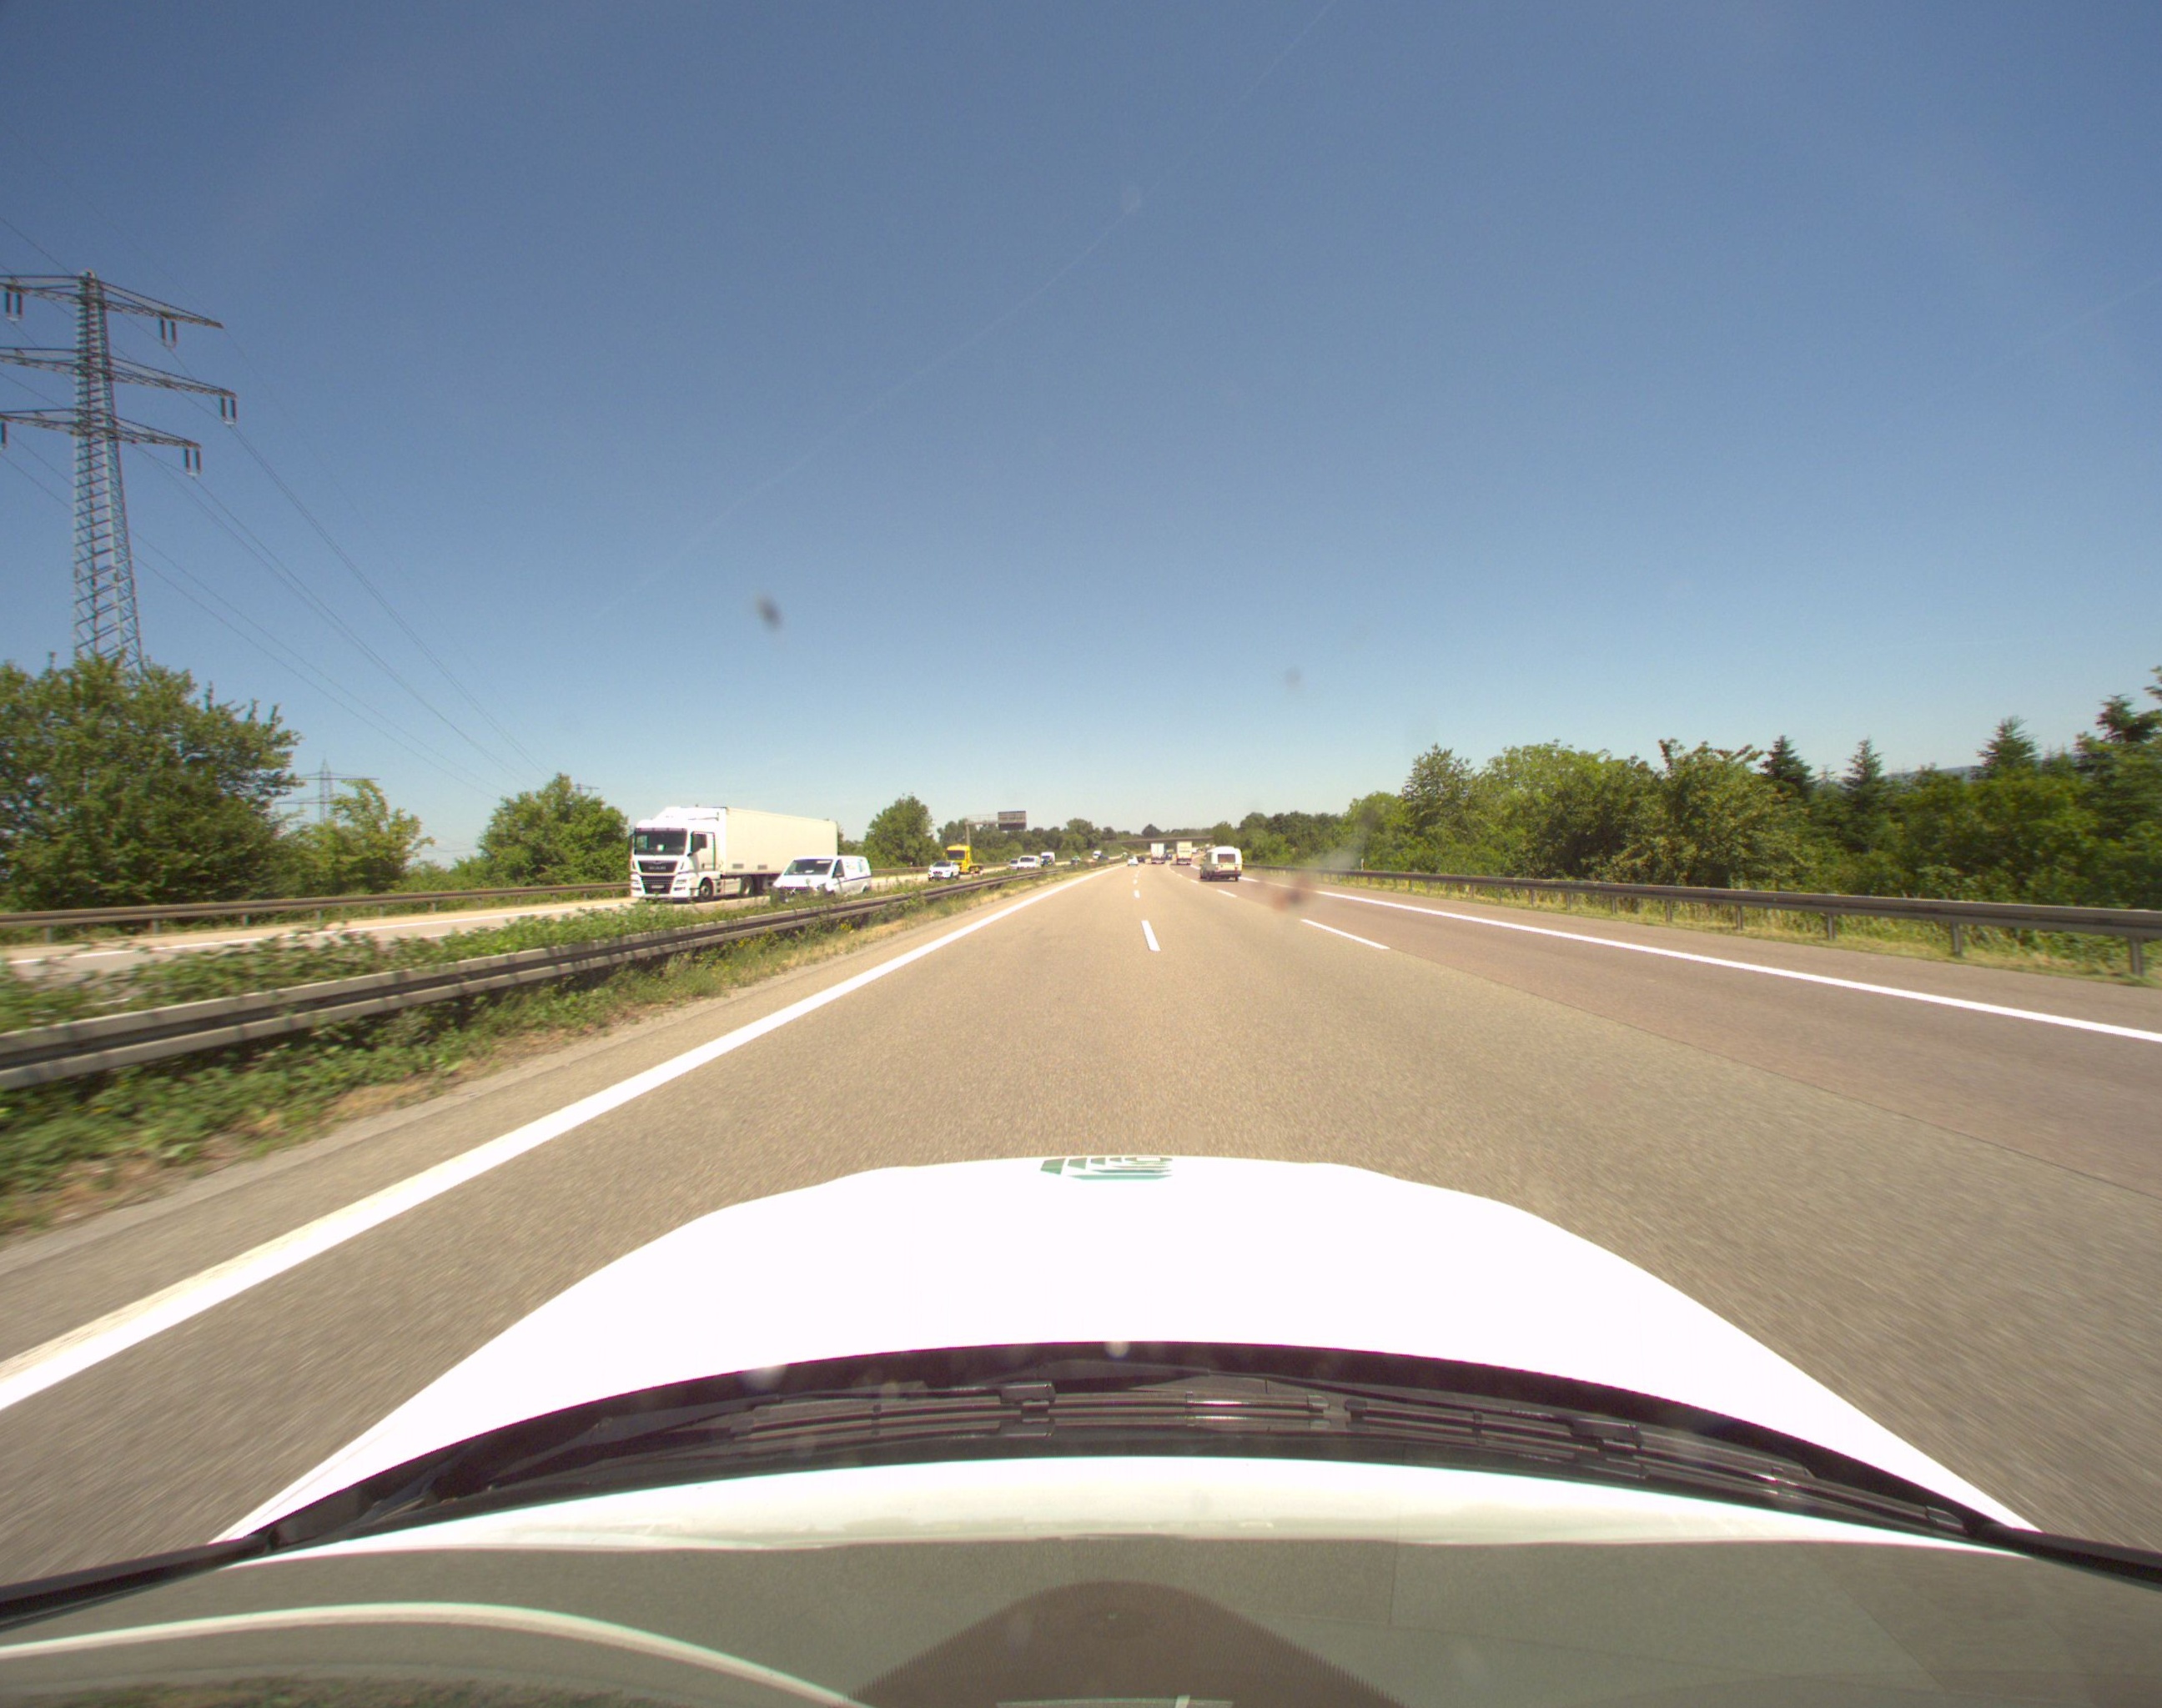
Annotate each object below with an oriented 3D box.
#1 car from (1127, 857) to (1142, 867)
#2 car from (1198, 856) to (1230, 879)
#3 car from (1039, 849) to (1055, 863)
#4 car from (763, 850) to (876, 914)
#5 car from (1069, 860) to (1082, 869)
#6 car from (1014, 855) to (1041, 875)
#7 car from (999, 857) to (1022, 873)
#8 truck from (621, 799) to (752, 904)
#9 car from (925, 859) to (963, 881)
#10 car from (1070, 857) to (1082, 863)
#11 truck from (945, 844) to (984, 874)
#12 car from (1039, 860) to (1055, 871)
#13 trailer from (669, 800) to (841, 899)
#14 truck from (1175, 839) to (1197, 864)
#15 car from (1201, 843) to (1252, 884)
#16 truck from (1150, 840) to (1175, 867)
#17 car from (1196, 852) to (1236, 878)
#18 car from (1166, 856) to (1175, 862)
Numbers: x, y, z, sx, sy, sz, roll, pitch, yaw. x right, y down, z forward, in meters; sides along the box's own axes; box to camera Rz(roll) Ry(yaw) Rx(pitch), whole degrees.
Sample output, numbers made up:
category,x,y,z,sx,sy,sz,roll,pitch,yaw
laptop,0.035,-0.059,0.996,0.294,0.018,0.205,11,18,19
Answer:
category,x,y,z,sx,sy,sz,roll,pitch,yaw
car,8.868,1.361,134.880,1.815,1.547,4.335,0,0,14
car,9.671,0.922,59.438,1.878,1.515,5.387,0,1,5
car,-6.372,0.432,152.718,2.121,2.477,6.342,-1,0,5
car,-8.877,0.864,28.208,1.986,1.939,5.340,-1,1,2
car,-0.860,1.632,128.100,1.624,1.354,3.832,-1,0,3
car,-5.338,1.095,81.844,1.985,1.882,5.727,-1,0,3
car,-8.189,1.274,95.054,1.985,1.736,4.818,-1,0,3
truck,-16.523,-0.100,34.511,2.819,4.081,5.169,-1,0,2
car,-10.668,1.213,63.677,1.985,1.548,4.730,-1,0,2
car,-1.259,1.391,193.670,1.980,1.458,4.102,-1,0,13
truck,-12.805,0.522,90.406,2.511,3.152,9.673,-1,0,3
car,-5.166,1.755,125.378,1.970,1.510,4.239,-1,0,3
trailer,-16.162,-0.157,42.159,2.823,4.258,13.645,-1,0,3
truck,18.972,-0.573,146.518,3.161,4.304,16.064,-1,1,10
car,9.320,0.544,52.568,2.433,2.321,5.325,-2,1,2
truck,16.110,-0.243,159.676,3.644,5.018,16.062,-1,1,10
car,9.600,0.738,58.379,2.037,1.658,5.512,-2,1,1
car,23.342,1.238,212.549,1.815,1.547,4.335,0,0,14
